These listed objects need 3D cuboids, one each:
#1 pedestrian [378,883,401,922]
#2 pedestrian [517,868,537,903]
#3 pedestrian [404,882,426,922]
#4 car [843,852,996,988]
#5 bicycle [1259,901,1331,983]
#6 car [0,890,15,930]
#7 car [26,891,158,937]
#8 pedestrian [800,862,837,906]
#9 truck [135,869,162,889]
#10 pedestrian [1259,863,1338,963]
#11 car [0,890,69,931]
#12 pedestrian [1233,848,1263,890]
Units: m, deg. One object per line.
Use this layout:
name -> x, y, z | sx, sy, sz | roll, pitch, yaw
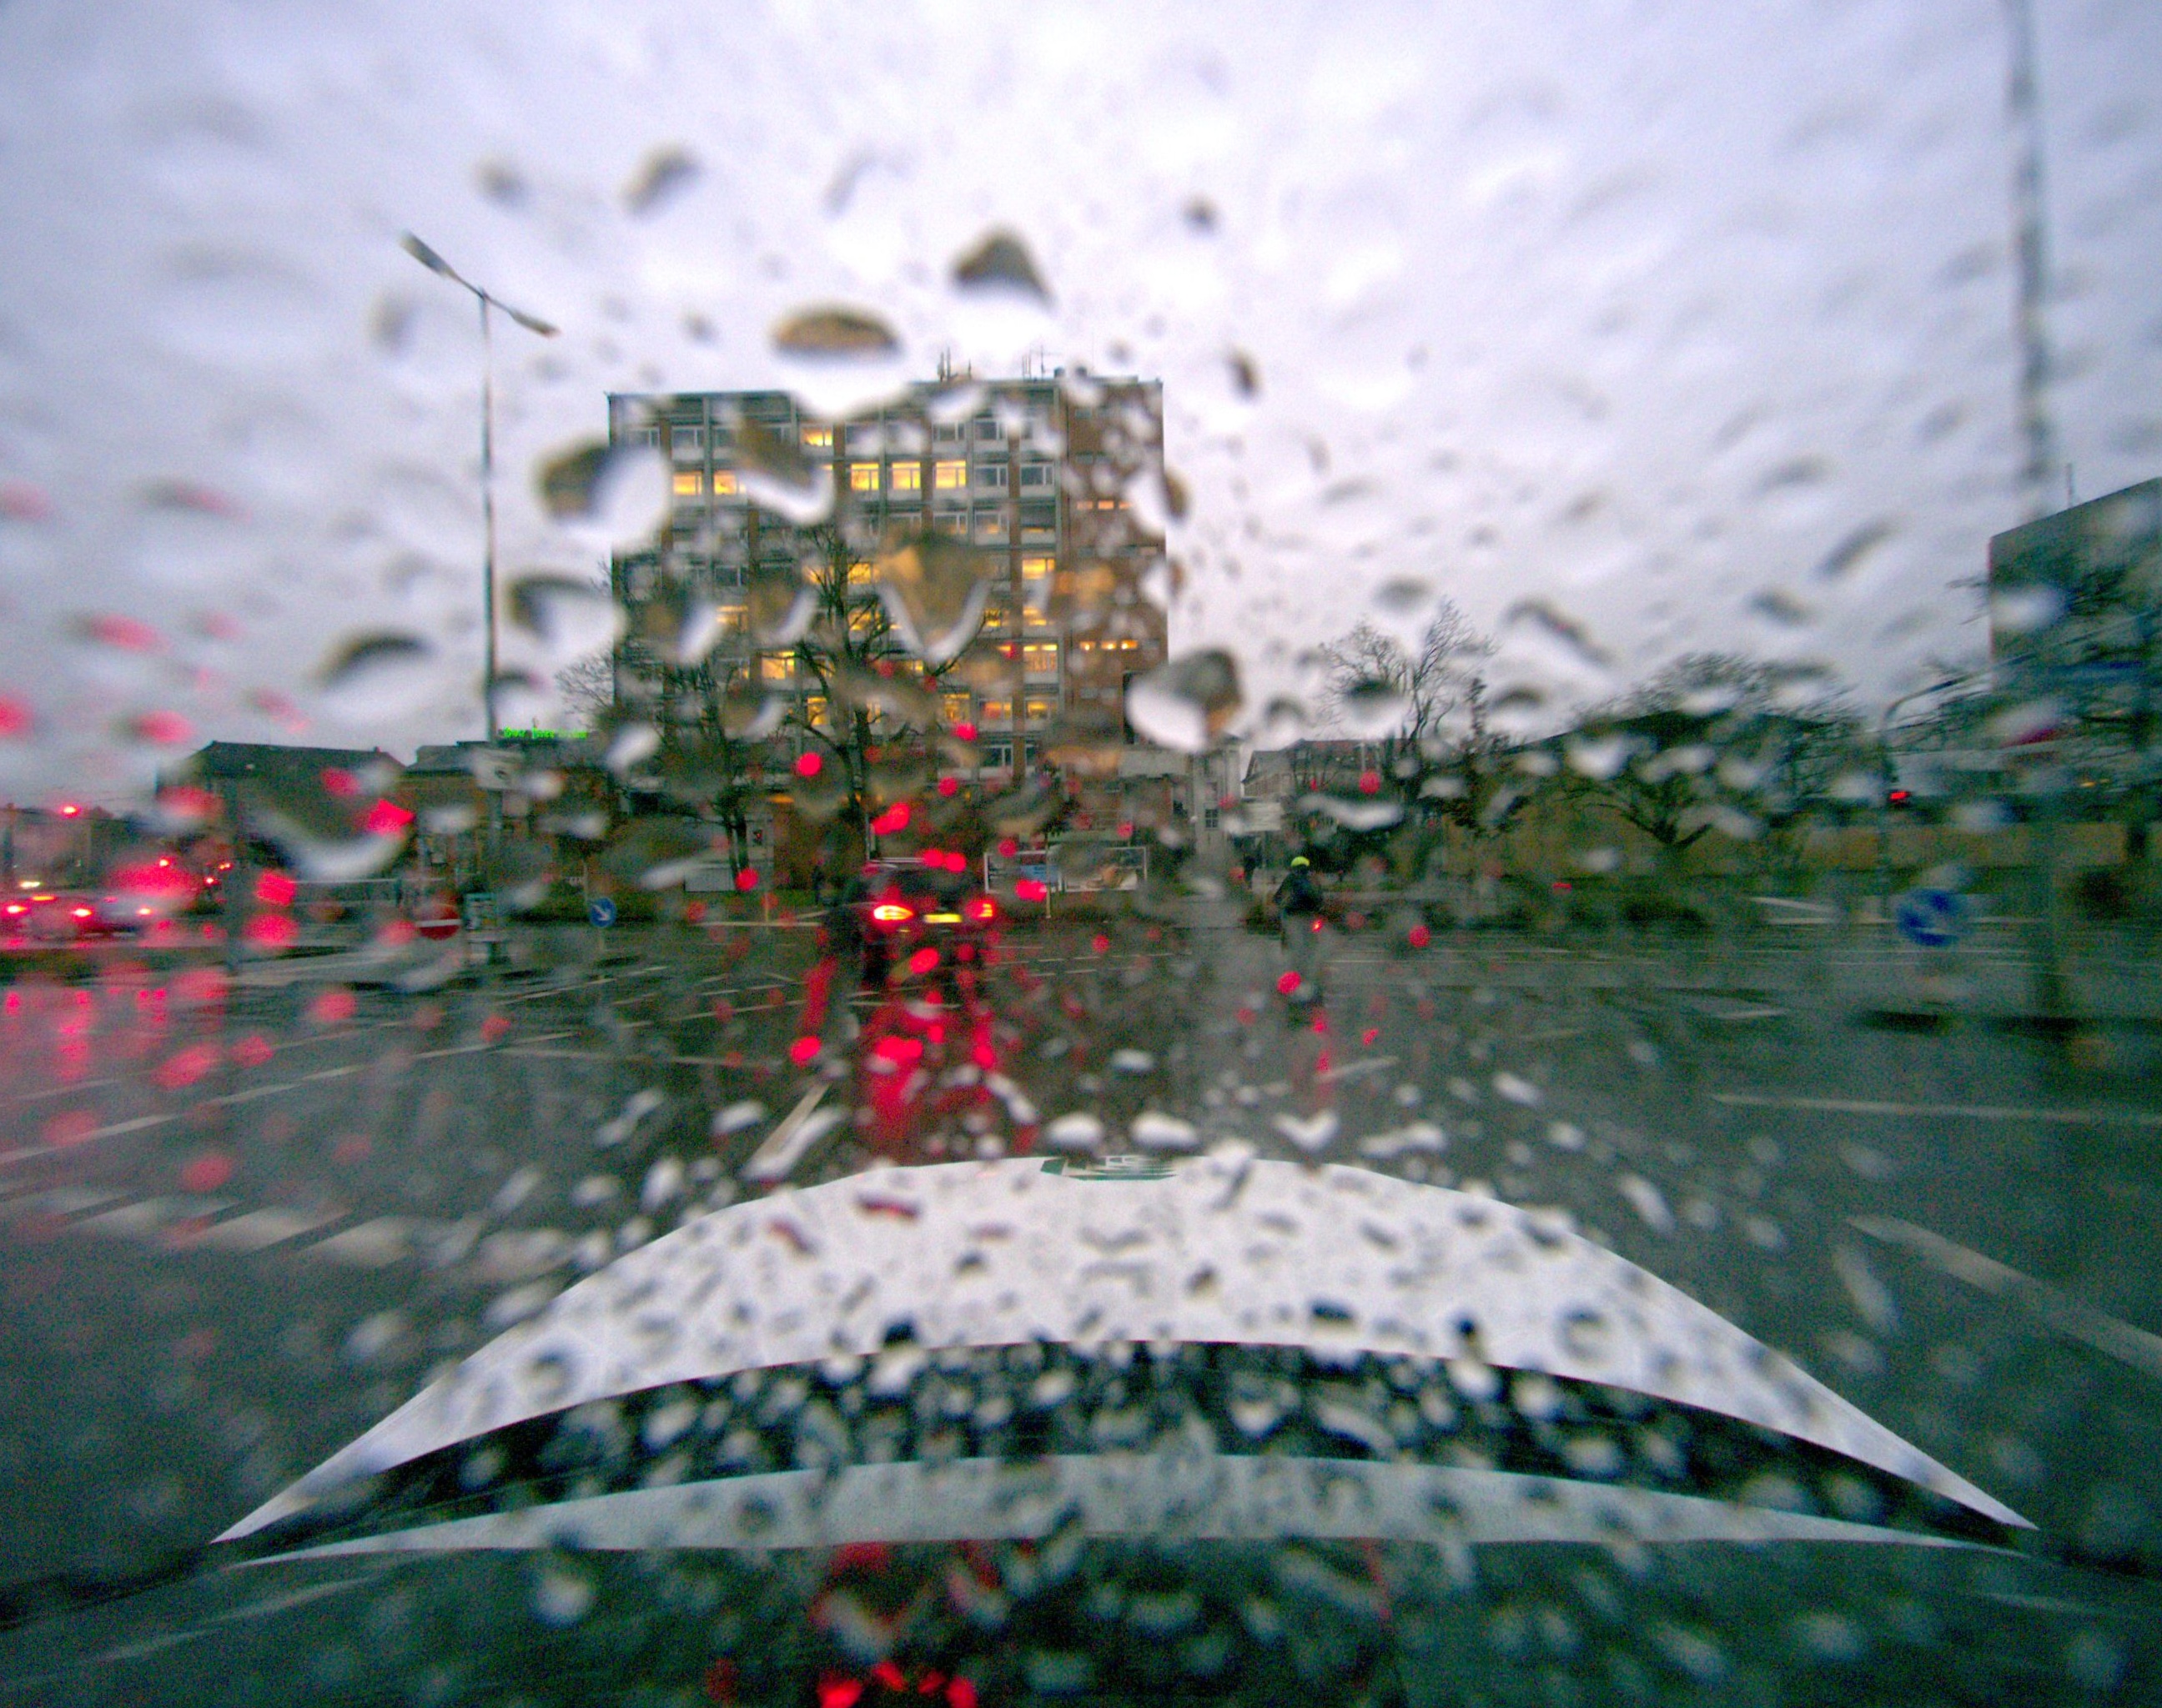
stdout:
pedestrian -> -35.523, 2.495, 41.834 | 0.813, 1.930, 0.752 | 1, 0, -36
pedestrian -> -26.975, 1.532, 39.669 | 0.723, 1.687, 0.751 | -2, 0, -37
pedestrian -> -34.753, 2.473, 42.488 | 0.813, 2.013, 0.752 | 1, 0, -36
car -> -2.790, 0.913, 13.219 | 1.784, 1.800, 4.394 | 0, -1, -20
bicycle -> 3.055, 1.216, 11.791 | 0.559, 0.947, 2.097 | -2, 0, 3
car -> -45.474, 2.285, 33.073 | 4.484, 1.601, 1.801 | -2, -3, 27
car -> -33.133, 1.970, 27.287 | 3.825, 1.482, 1.715 | -1, -3, 23
pedestrian -> -10.606, 1.219, 32.868 | 1.057, 1.687, 0.814 | -2, 1, 23
truck -> -131.418, 3.449, 114.778 | 2.011, 2.691, 5.052 | -2, 0, -43
pedestrian -> 3.048, 0.804, 11.496 | 0.871, 1.316, 0.849 | -2, 0, 2
car -> -39.610, 2.083, 30.144 | 4.069, 1.404, 1.673 | -2, -3, 24
pedestrian -> 7.021, 0.608, 34.247 | 0.928, 1.687, 0.906 | -1, 2, -23
